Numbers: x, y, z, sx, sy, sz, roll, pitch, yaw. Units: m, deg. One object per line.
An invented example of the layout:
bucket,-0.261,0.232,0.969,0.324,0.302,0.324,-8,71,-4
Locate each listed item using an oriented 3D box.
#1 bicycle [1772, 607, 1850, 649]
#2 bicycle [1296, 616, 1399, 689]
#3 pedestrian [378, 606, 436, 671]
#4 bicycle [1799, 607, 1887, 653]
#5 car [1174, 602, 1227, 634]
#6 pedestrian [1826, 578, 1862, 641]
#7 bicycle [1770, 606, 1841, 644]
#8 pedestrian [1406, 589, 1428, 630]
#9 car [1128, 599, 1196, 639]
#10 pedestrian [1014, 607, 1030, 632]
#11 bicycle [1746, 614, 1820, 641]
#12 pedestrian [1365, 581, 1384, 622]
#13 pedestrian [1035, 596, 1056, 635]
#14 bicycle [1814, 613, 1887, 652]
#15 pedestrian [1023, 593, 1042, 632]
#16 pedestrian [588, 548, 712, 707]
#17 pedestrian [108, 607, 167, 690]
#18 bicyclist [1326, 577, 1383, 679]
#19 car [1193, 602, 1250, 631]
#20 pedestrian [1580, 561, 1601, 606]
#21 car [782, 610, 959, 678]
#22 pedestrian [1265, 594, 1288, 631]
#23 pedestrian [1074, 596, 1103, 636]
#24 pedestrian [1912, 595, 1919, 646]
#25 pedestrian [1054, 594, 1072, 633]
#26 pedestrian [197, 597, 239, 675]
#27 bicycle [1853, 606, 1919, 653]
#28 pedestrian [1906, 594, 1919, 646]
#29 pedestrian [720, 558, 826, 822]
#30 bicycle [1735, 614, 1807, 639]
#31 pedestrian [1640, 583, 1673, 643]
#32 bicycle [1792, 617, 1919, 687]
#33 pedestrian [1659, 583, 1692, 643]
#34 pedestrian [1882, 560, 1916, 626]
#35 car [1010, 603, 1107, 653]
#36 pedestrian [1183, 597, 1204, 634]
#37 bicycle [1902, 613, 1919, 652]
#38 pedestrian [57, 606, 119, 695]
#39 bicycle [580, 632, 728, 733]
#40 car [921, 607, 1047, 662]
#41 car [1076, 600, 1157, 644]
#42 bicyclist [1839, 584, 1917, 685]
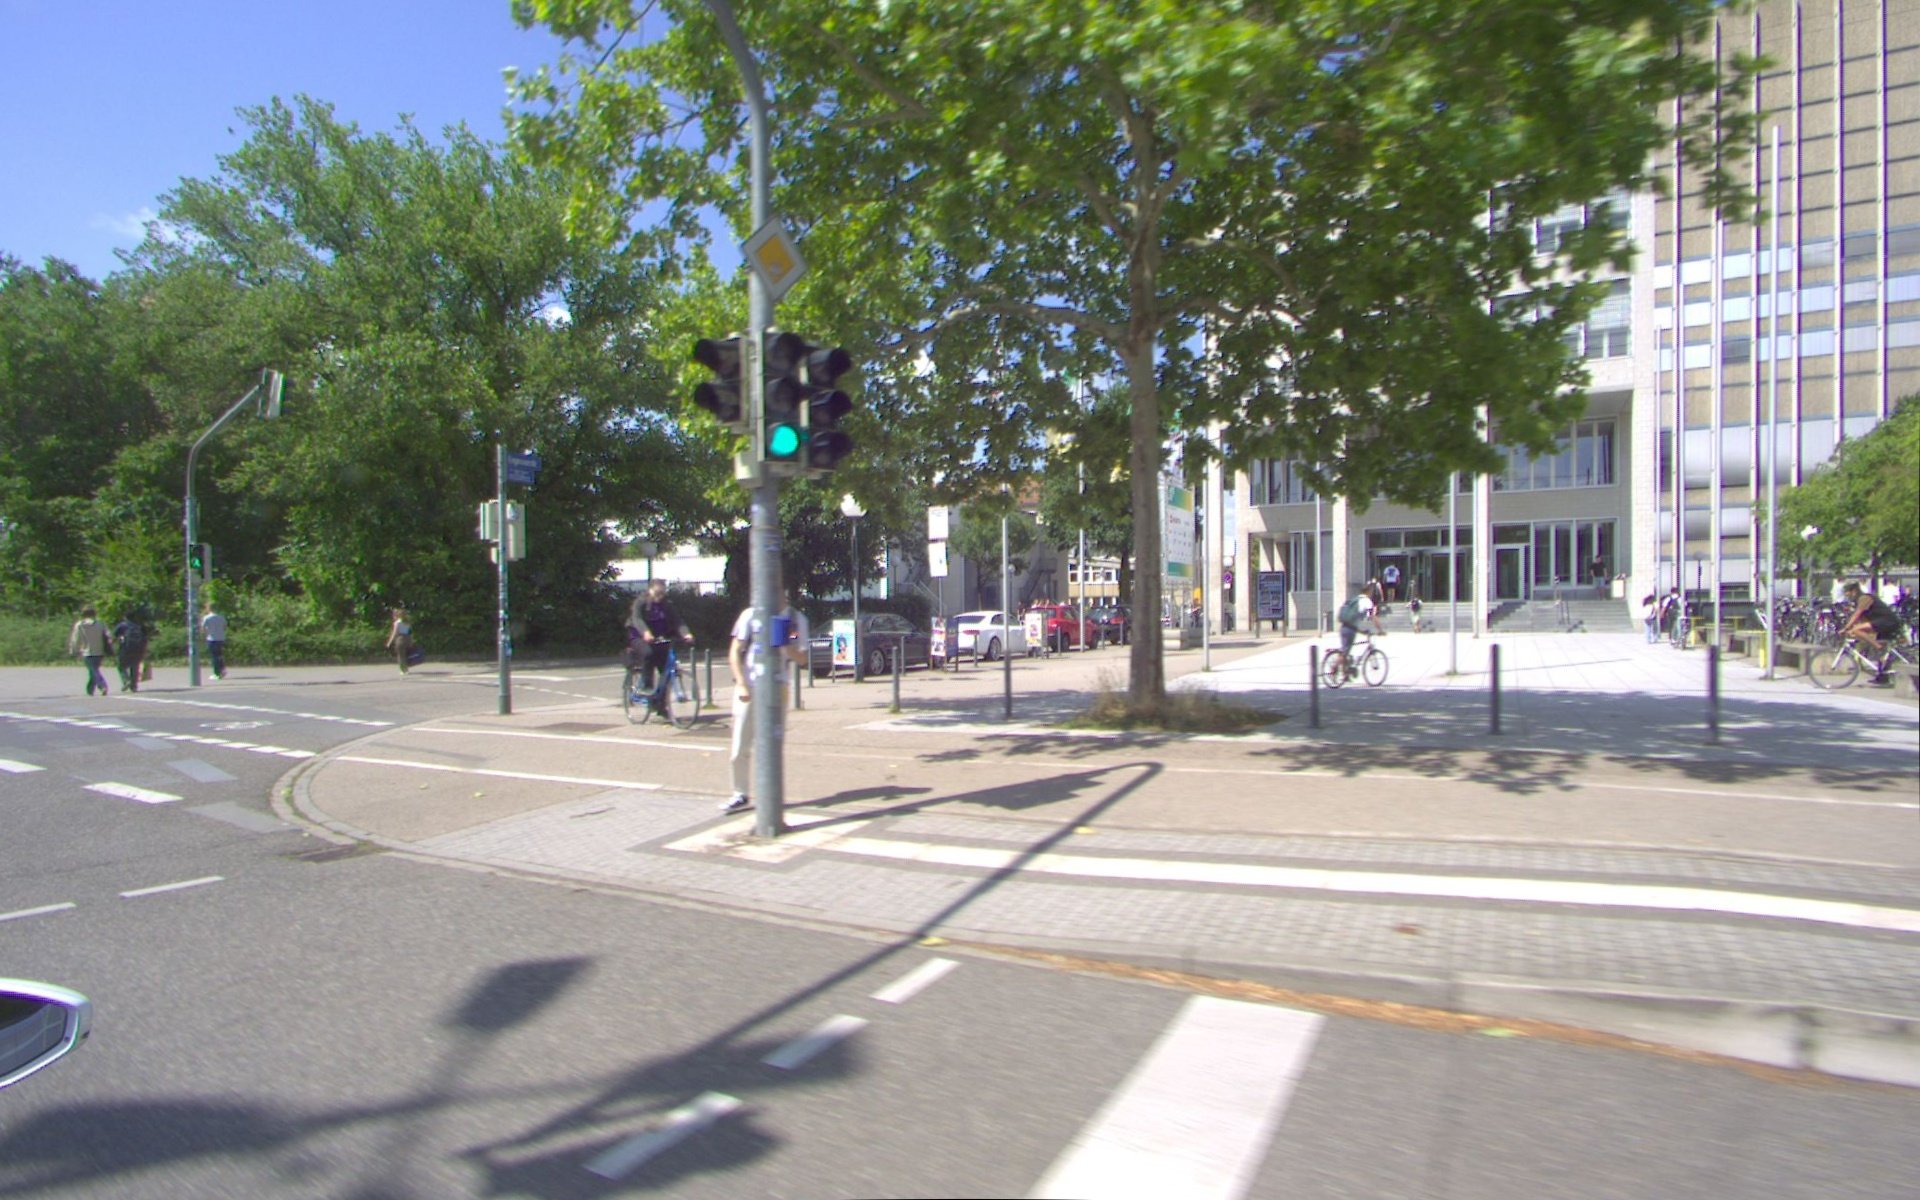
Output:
bicycle,23.315,0.791,27.483,0.592,1.112,1.769,0,-2,-1
bicycle,7.235,0.979,18.698,1.844,1.313,0.661,1,-2,-23
pedestrian,-14.485,1.000,26.248,1.001,1.648,0.856,1,2,12
bicycle,22.198,0.757,25.218,0.592,1.112,1.769,0,-2,-1
car,11.762,0.858,48.809,1.594,1.516,3.990,-1,-1,28
pedestrian,32.013,0.363,36.263,0.622,2.257,0.717,0,-1,-1
bicycle,25.276,0.762,29.979,0.592,1.112,1.769,0,-2,-1
pedestrian,18.231,0.376,39.947,0.710,1.605,0.713,-1,-2,32
car,8.670,0.783,42.676,1.698,1.549,4.550,-3,-1,26
pedestrian,3.811,1.206,61.329,0.841,1.540,0.518,-1,-2,32
bicycle,25.904,0.861,31.542,1.736,0.803,0.519,-1,0,17
pedestrian,17.573,0.060,42.409,0.625,1.687,0.713,-1,-2,32
pedestrian,4.344,0.792,50.679,0.726,1.951,0.778,-1,0,-38
bicycle,26.702,0.982,30.063,0.592,1.112,1.769,0,-2,-1
pedestrian,3.652,0.640,50.414,0.586,1.951,0.780,-1,0,-38
pedestrian,-3.837,0.328,12.402,1.162,1.845,0.849,-2,3,41
pedestrian,-17.643,1.018,21.473,1.168,1.726,0.791,0,0,41
bicyclist,7.386,0.528,18.768,0.749,1.869,0.661,1,-2,-22
car,13.856,0.861,52.908,1.844,1.483,4.500,-1,-1,29
pedestrian,26.560,-0.690,42.180,0.710,1.820,0.713,-1,-2,32
car,-1.975,0.984,23.854,1.698,1.418,4.927,-3,-2,29
pedestrian,15.271,0.603,48.313,0.907,1.763,0.997,-1,0,29
pedestrian,6.246,0.783,48.815,1.082,1.945,1.016,0,0,30
pedestrian,42.917,0.919,44.572,0.628,2.257,0.710,1,-2,-42
pedestrian,5.212,0.662,50.657,0.713,1.951,0.749,0,0,22
pedestrian,-17.941,0.859,24.211,0.695,1.845,0.668,1,0,41
bicycle,23.134,0.746,24.686,0.592,1.112,1.769,0,-2,-1
pedestrian,41.453,0.861,43.289,0.628,2.257,0.710,1,-2,-42
pedestrian,-1.338,0.624,7.262,0.599,1.825,0.595,-1,2,1
bicycle,26.375,0.868,32.570,1.736,0.803,0.519,-1,0,17
pedestrian,21.190,0.410,30.449,0.708,1.768,0.629,1,-2,-38
bicycle,15.012,0.838,16.319,0.895,1.092,2.133,1,-3,-45
pedestrian,21.550,0.398,30.161,0.708,1.768,0.629,1,-2,-38
pedestrian,32.526,-0.229,34.693,0.624,2.257,0.852,-1,-2,28
car,3.342,0.890,33.318,1.596,1.516,4.127,-3,-1,30
pedestrian,10.469,0.704,44.951,0.678,1.661,0.738,-1,0,-9
bicycle,28.306,0.934,28.862,0.592,1.112,1.769,0,-2,-1
pedestrian,-17.584,0.995,20.193,1.168,1.726,0.791,0,0,41
bicycle,-3.799,0.981,12.369,1.869,1.087,0.811,-2,3,41
car,0.781,0.952,28.692,1.699,1.417,4.419,-4,-2,29
car,5.934,0.821,37.549,1.699,1.549,3.982,-1,-1,30
bicyclist,14.980,0.555,16.346,0.923,1.584,0.657,-1,0,44
